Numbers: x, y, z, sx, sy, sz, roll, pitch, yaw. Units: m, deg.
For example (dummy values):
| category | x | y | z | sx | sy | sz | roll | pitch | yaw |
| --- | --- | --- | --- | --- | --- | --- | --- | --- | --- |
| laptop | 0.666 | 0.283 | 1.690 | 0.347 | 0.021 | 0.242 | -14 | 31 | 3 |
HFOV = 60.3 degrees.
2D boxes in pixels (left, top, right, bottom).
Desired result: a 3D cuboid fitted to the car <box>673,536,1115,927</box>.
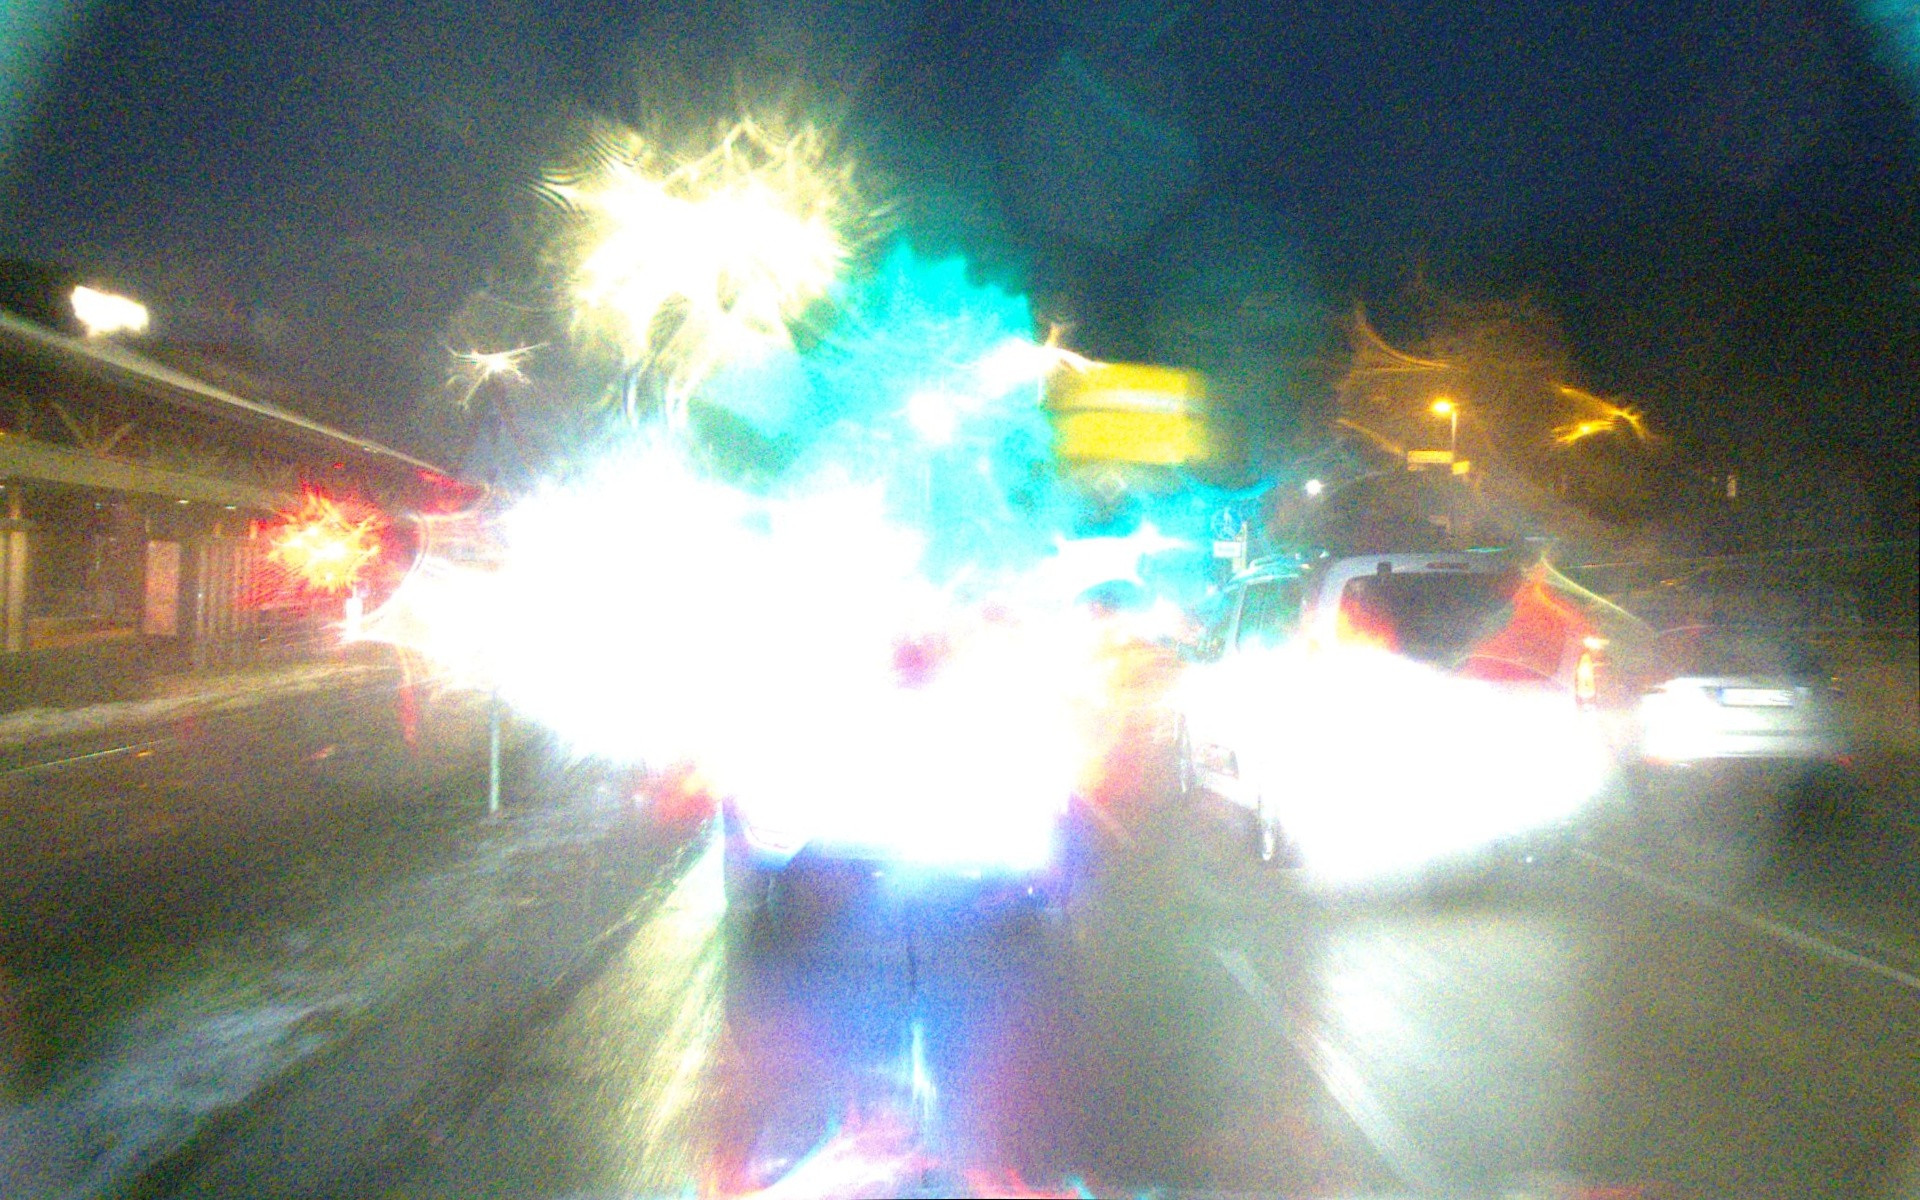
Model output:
| category | x | y | z | sx | sy | sz | roll | pitch | yaw |
| --- | --- | --- | --- | --- | --- | --- | --- | --- | --- |
| car | -0.484 | 0.611 | 9.730 | 1.975 | 1.747 | 4.447 | 1 | 0 | -5 |

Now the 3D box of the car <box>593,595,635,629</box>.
| category | x | y | z | sx | sy | sz | roll | pitch | yaw |
| --- | --- | --- | --- | --- | --- | --- | --- | --- | --- |
| car | -19.910 | 0.655 | 95.109 | 1.962 | 1.856 | 3.981 | 1 | 0 | -17 |

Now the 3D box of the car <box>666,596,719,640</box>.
| category | x | y | z | sx | sy | sz | roll | pitch | yaw |
| --- | --- | --- | --- | --- | --- | --- | --- | --- | --- |
| car | -11.872 | 0.765 | 73.293 | 1.960 | 1.856 | 3.986 | 1 | 0 | -14 |

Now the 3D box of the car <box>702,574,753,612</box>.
| category | x | y | z | sx | sy | sz | roll | pitch | yaw |
| --- | --- | --- | --- | --- | --- | --- | --- | --- | --- |
| car | -11.768 | -0.347 | 83.434 | 1.961 | 1.852 | 3.982 | 1 | 0 | -16 |

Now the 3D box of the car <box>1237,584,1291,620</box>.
| category | x | y | z | sx | sy | sz | roll | pitch | yaw |
| --- | --- | --- | --- | --- | --- | --- | --- | --- | --- |
| car | 14.769 | 0.103 | 80.443 | 1.827 | 1.675 | 3.962 | -1 | 0 | -1 |

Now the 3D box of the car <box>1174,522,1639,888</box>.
| category | x | y | z | sx | sy | sz | roll | pitch | yaw |
| --- | --- | --- | --- | --- | --- | --- | --- | --- | --- |
| car | 2.650 | 0.565 | 10.937 | 1.814 | 1.897 | 4.339 | 1 | 0 | -1 |

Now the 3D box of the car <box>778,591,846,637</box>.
| category | x | y | z | sx | sy | sz | roll | pitch | yaw |
| --- | --- | --- | --- | --- | --- | --- | --- | --- | --- |
| car | -5.727 | 0.519 | 63.475 | 1.960 | 1.699 | 3.984 | 1 | 0 | -15 |

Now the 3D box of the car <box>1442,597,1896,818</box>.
| category | x | y | z | sx | sy | sz | roll | pitch | yaw |
| --- | --- | --- | --- | --- | --- | --- | --- | --- | --- |
| car | 5.497 | 0.731 | 13.486 | 1.749 | 1.467 | 4.236 | 0 | 1 | -2 |

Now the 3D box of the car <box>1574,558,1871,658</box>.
| category | x | y | z | sx | sy | sz | roll | pitch | yaw |
| --- | --- | --- | --- | --- | --- | --- | --- | --- | --- |
| car | 12.389 | 0.105 | 26.971 | 4.244 | 1.485 | 1.849 | 1 | 0 | 28 |

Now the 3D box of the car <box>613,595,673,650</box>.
| category | x | y | z | sx | sy | sz | roll | pitch | yaw |
| --- | --- | --- | --- | --- | --- | --- | --- | --- | --- |
| car | -12.509 | 0.858 | 65.141 | 1.981 | 1.920 | 4.435 | 2 | 1 | -15 |

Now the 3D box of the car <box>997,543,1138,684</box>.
| category | x | y | z | sx | sy | sz | roll | pitch | yaw |
| --- | --- | --- | --- | --- | --- | --- | --- | --- | --- |
| car | 1.656 | 0.209 | 26.799 | 1.929 | 2.082 | 3.999 | 1 | 0 | -1 |

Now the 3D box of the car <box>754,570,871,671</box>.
| category | x | y | z | sx | sy | sz | roll | pitch | yaw |
| --- | --- | --- | --- | --- | --- | --- | --- | --- | --- |
| car | -3.309 | 0.432 | 36.359 | 1.960 | 2.049 | 3.986 | 1 | 0 | -14 |

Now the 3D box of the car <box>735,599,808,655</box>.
| category | x | y | z | sx | sy | sz | roll | pitch | yaw |
| --- | --- | --- | --- | --- | --- | --- | --- | --- | --- |
| car | -6.299 | 0.876 | 54.990 | 1.959 | 1.763 | 3.987 | 1 | 0 | -13 |

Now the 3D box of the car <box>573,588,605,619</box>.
| category | x | y | z | sx | sy | sz | roll | pitch | yaw |
| --- | --- | --- | --- | --- | --- | --- | --- | --- | --- |
| car | -25.703 | 0.257 | 114.484 | 1.960 | 2.049 | 3.984 | 1 | 0 | -15 |

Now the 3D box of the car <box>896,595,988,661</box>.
| category | x | y | z | sx | sy | sz | roll | pitch | yaw |
| --- | --- | --- | --- | --- | --- | --- | --- | --- | --- |
| car | -0.559 | 0.760 | 46.373 | 1.957 | 1.748 | 3.991 | 1 | 0 | -9 |
